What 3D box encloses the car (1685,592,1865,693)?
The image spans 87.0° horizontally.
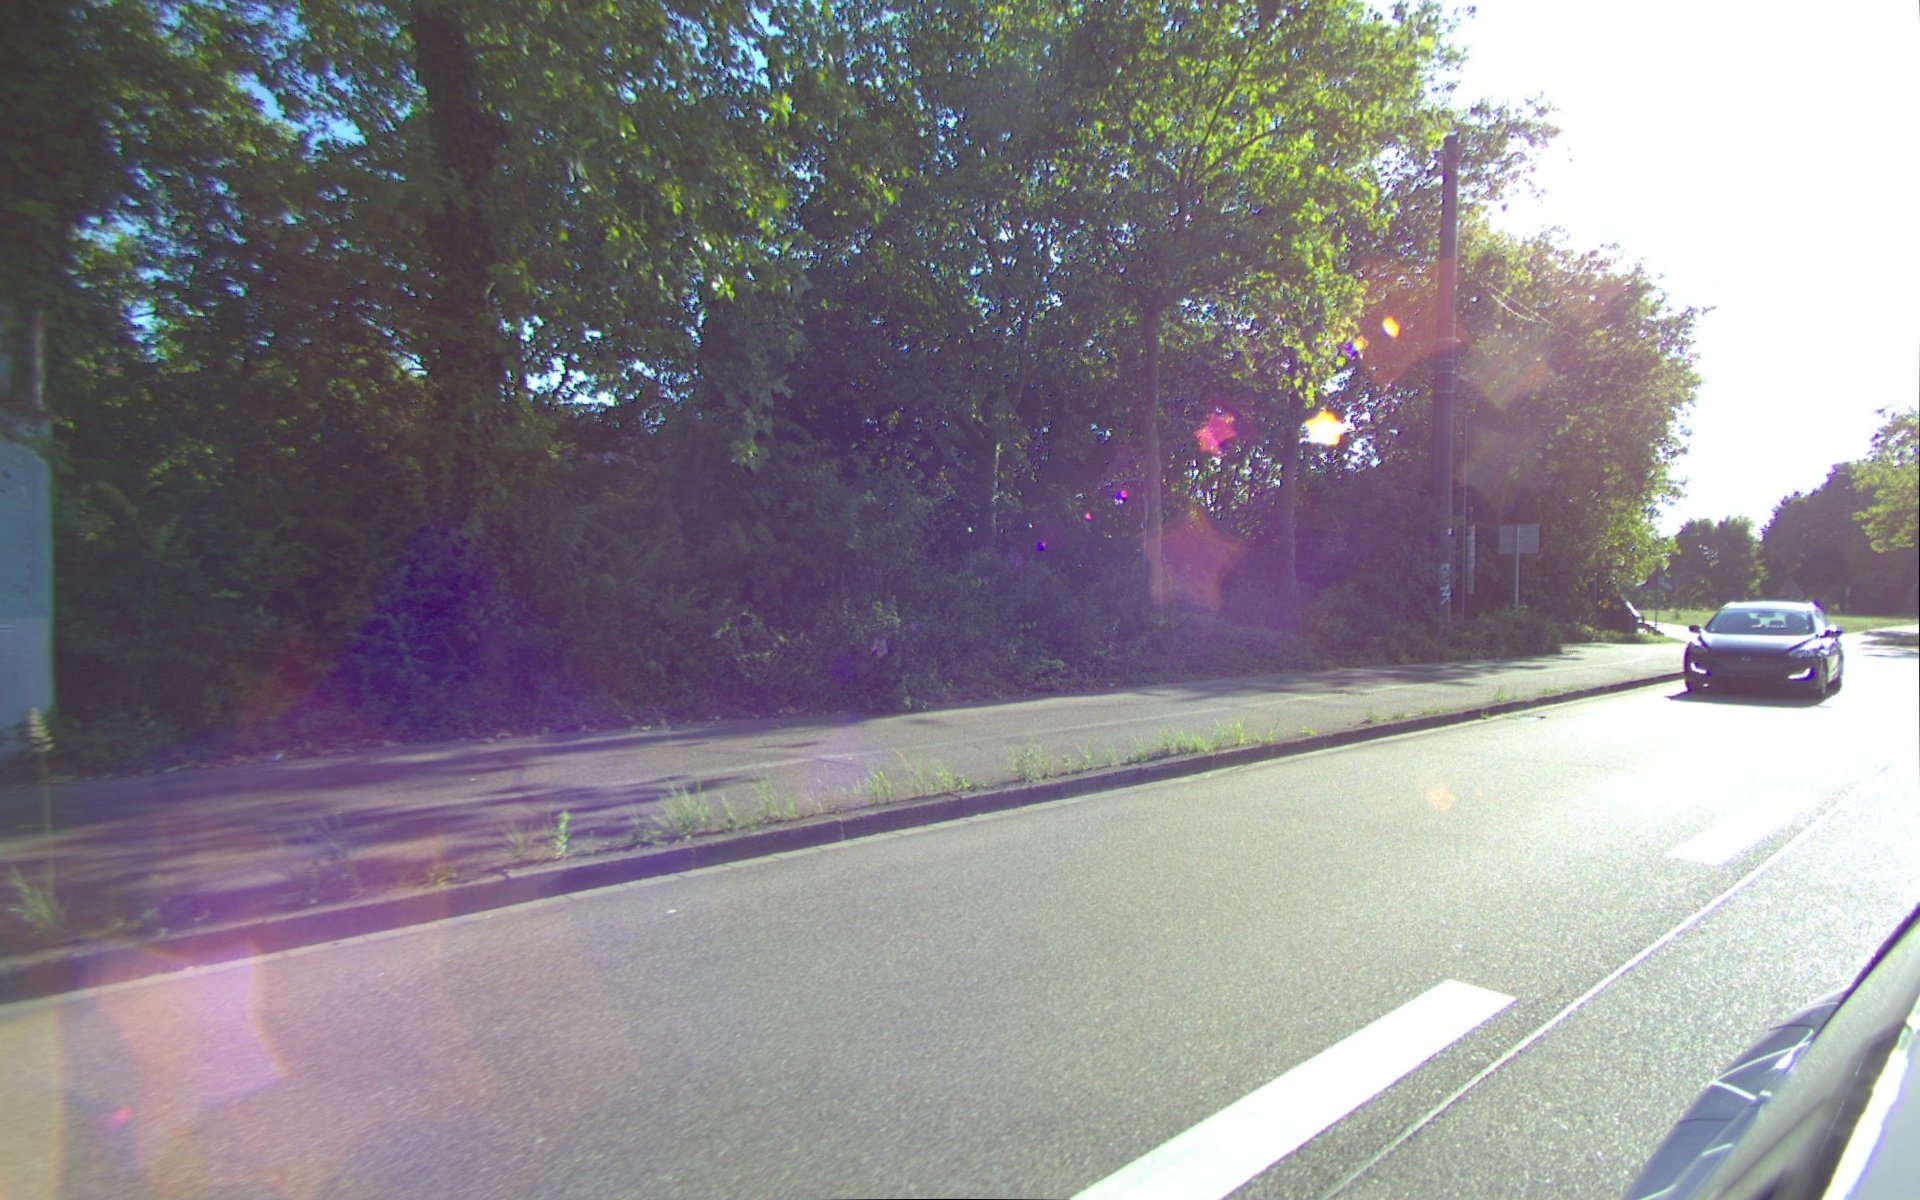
[{"bbox_3d":[13.737,0.610,16.980,4.153,1.458,1.794,-1,0,-43],"label":"car"}]
